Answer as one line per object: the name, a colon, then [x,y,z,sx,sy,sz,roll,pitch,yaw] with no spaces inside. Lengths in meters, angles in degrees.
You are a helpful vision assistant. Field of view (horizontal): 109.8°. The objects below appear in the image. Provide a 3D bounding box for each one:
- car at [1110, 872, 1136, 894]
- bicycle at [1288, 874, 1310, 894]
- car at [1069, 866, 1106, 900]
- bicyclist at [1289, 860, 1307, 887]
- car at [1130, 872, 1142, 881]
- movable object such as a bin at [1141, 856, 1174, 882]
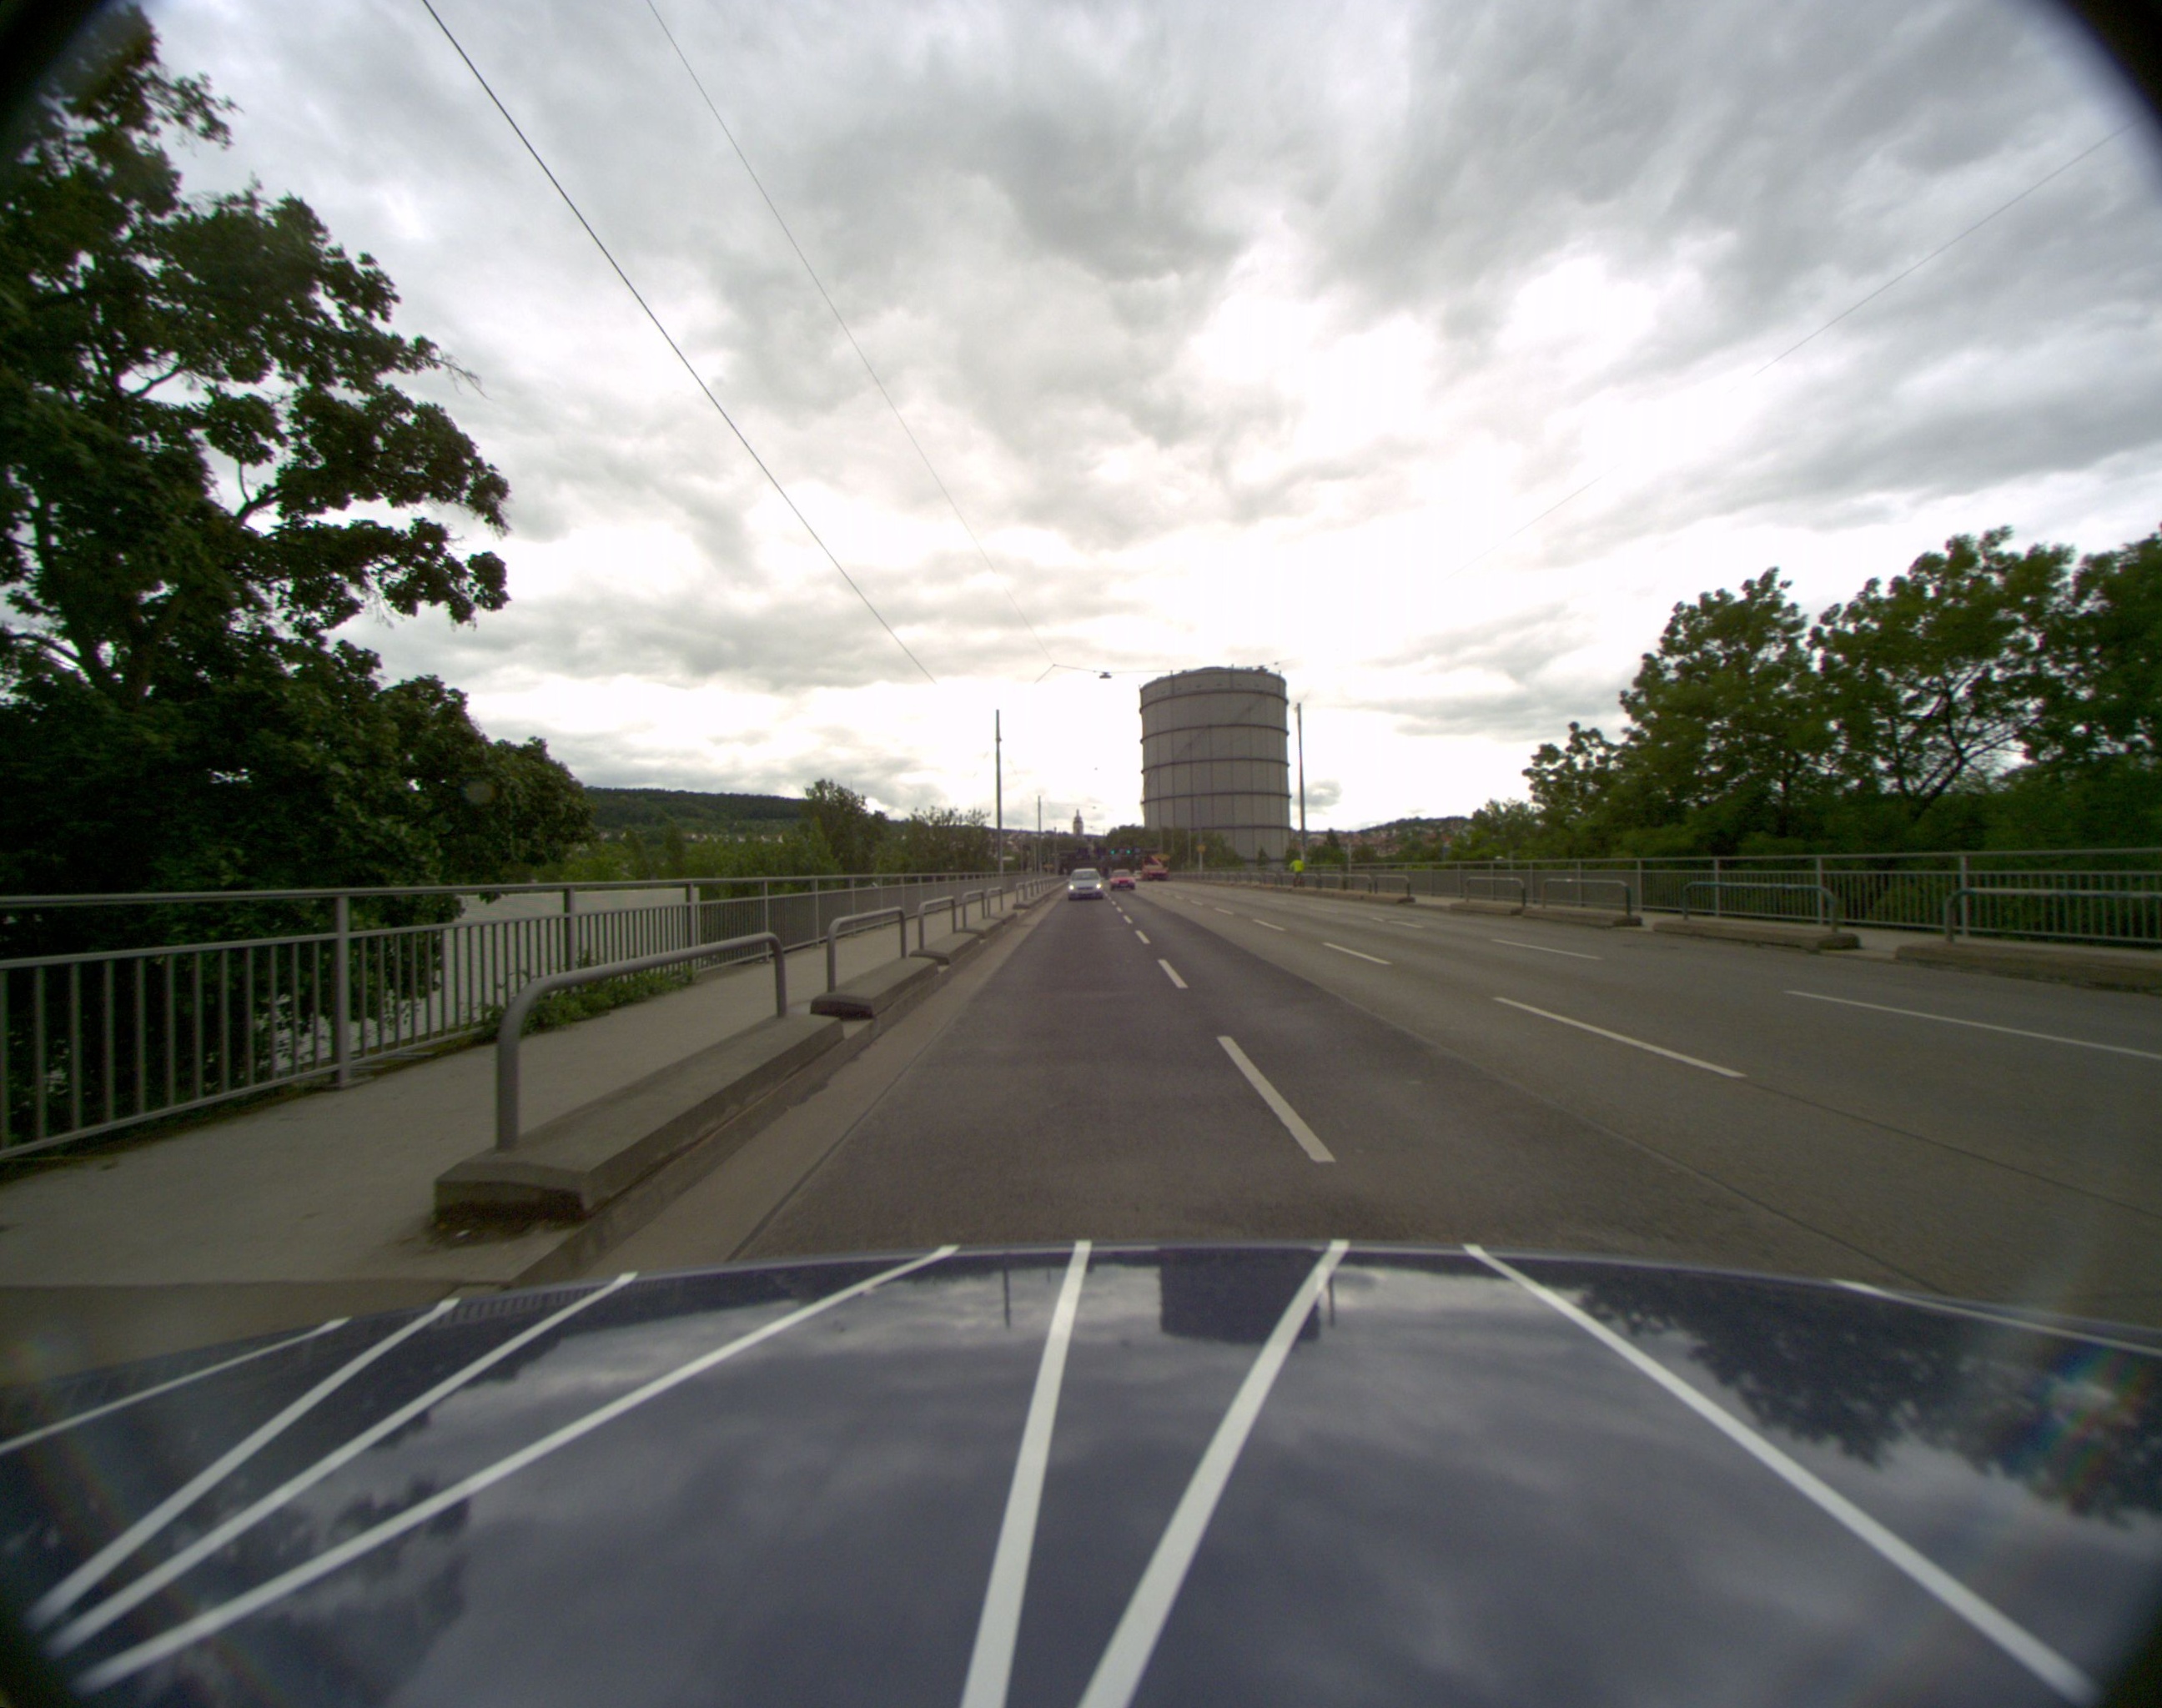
car: [2.983,2.041,54.479,1.696,1.434,4.000,0,0,0]
bicycle: [12.528,1.716,43.768,0.636,1.058,1.983,-10,-1,3]
car: [0.348,1.447,39.570,1.771,1.565,4.000,-1,0,1]
bicyclist: [12.488,1.142,43.775,0.627,1.467,0.670,-10,-1,2]
car: [9.269,3.765,128.592,1.696,1.434,3.798,0,0,-1]
movable object such as a bin: [9.938,1.912,100.039,3.464,3.303,9.359,0,0,1]
